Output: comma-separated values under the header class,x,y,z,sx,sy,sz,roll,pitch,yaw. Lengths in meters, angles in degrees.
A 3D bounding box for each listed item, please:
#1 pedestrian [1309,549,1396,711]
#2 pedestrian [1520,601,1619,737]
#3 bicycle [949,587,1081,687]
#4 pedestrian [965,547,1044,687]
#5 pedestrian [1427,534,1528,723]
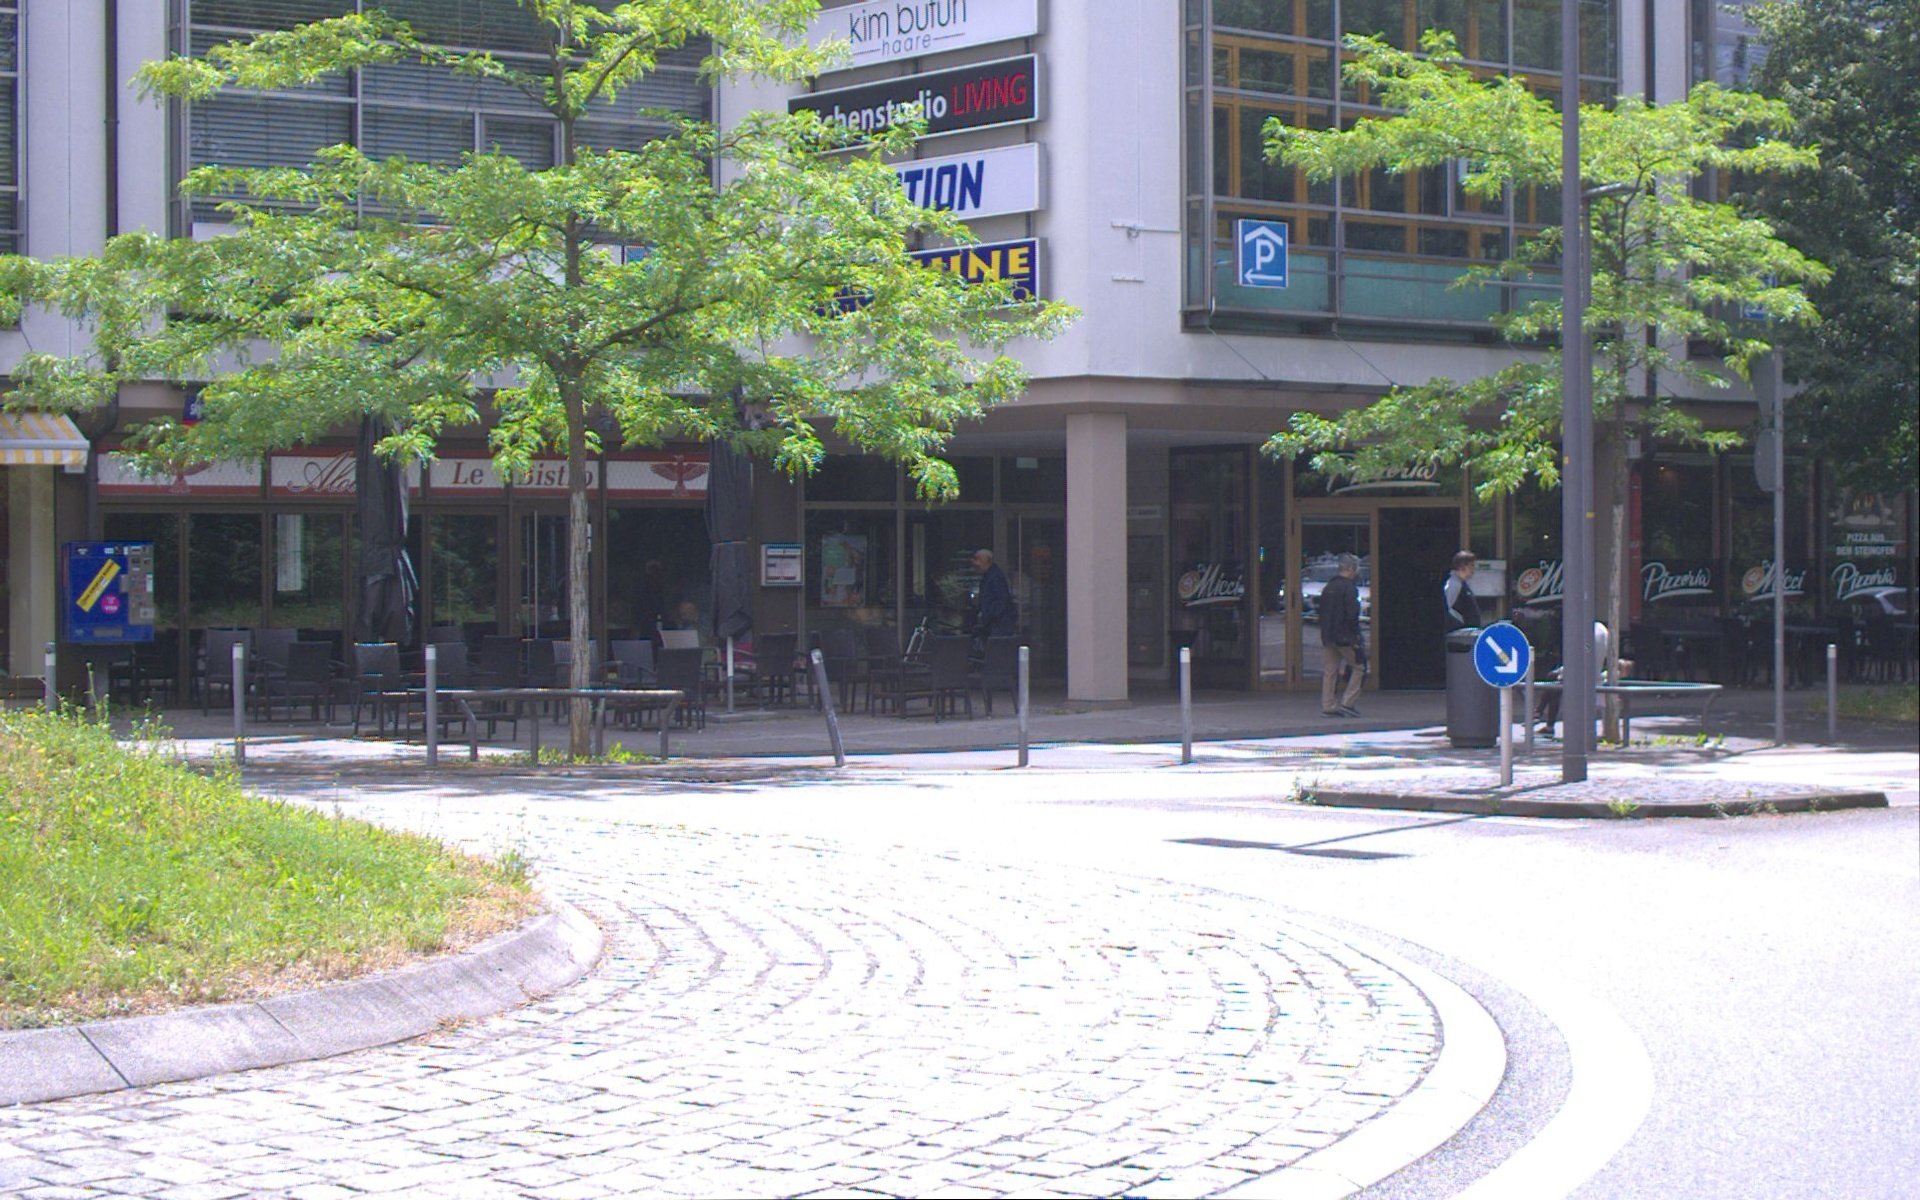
class,x,y,z,sx,sy,sz,roll,pitch,yaw
pedestrian,4.115,0.312,36.003,0.617,1.669,0.696,1,0,36
pedestrian,5.886,0.658,33.206,0.615,1.280,0.698,1,0,-28
bicycle,0.663,0.444,41.258,1.538,1.164,0.496,1,-1,3
pedestrian,0.542,0.199,41.538,0.696,1.669,0.617,1,1,-41
pedestrian,5.123,0.274,34.066,0.615,1.812,0.698,-5,3,-35
